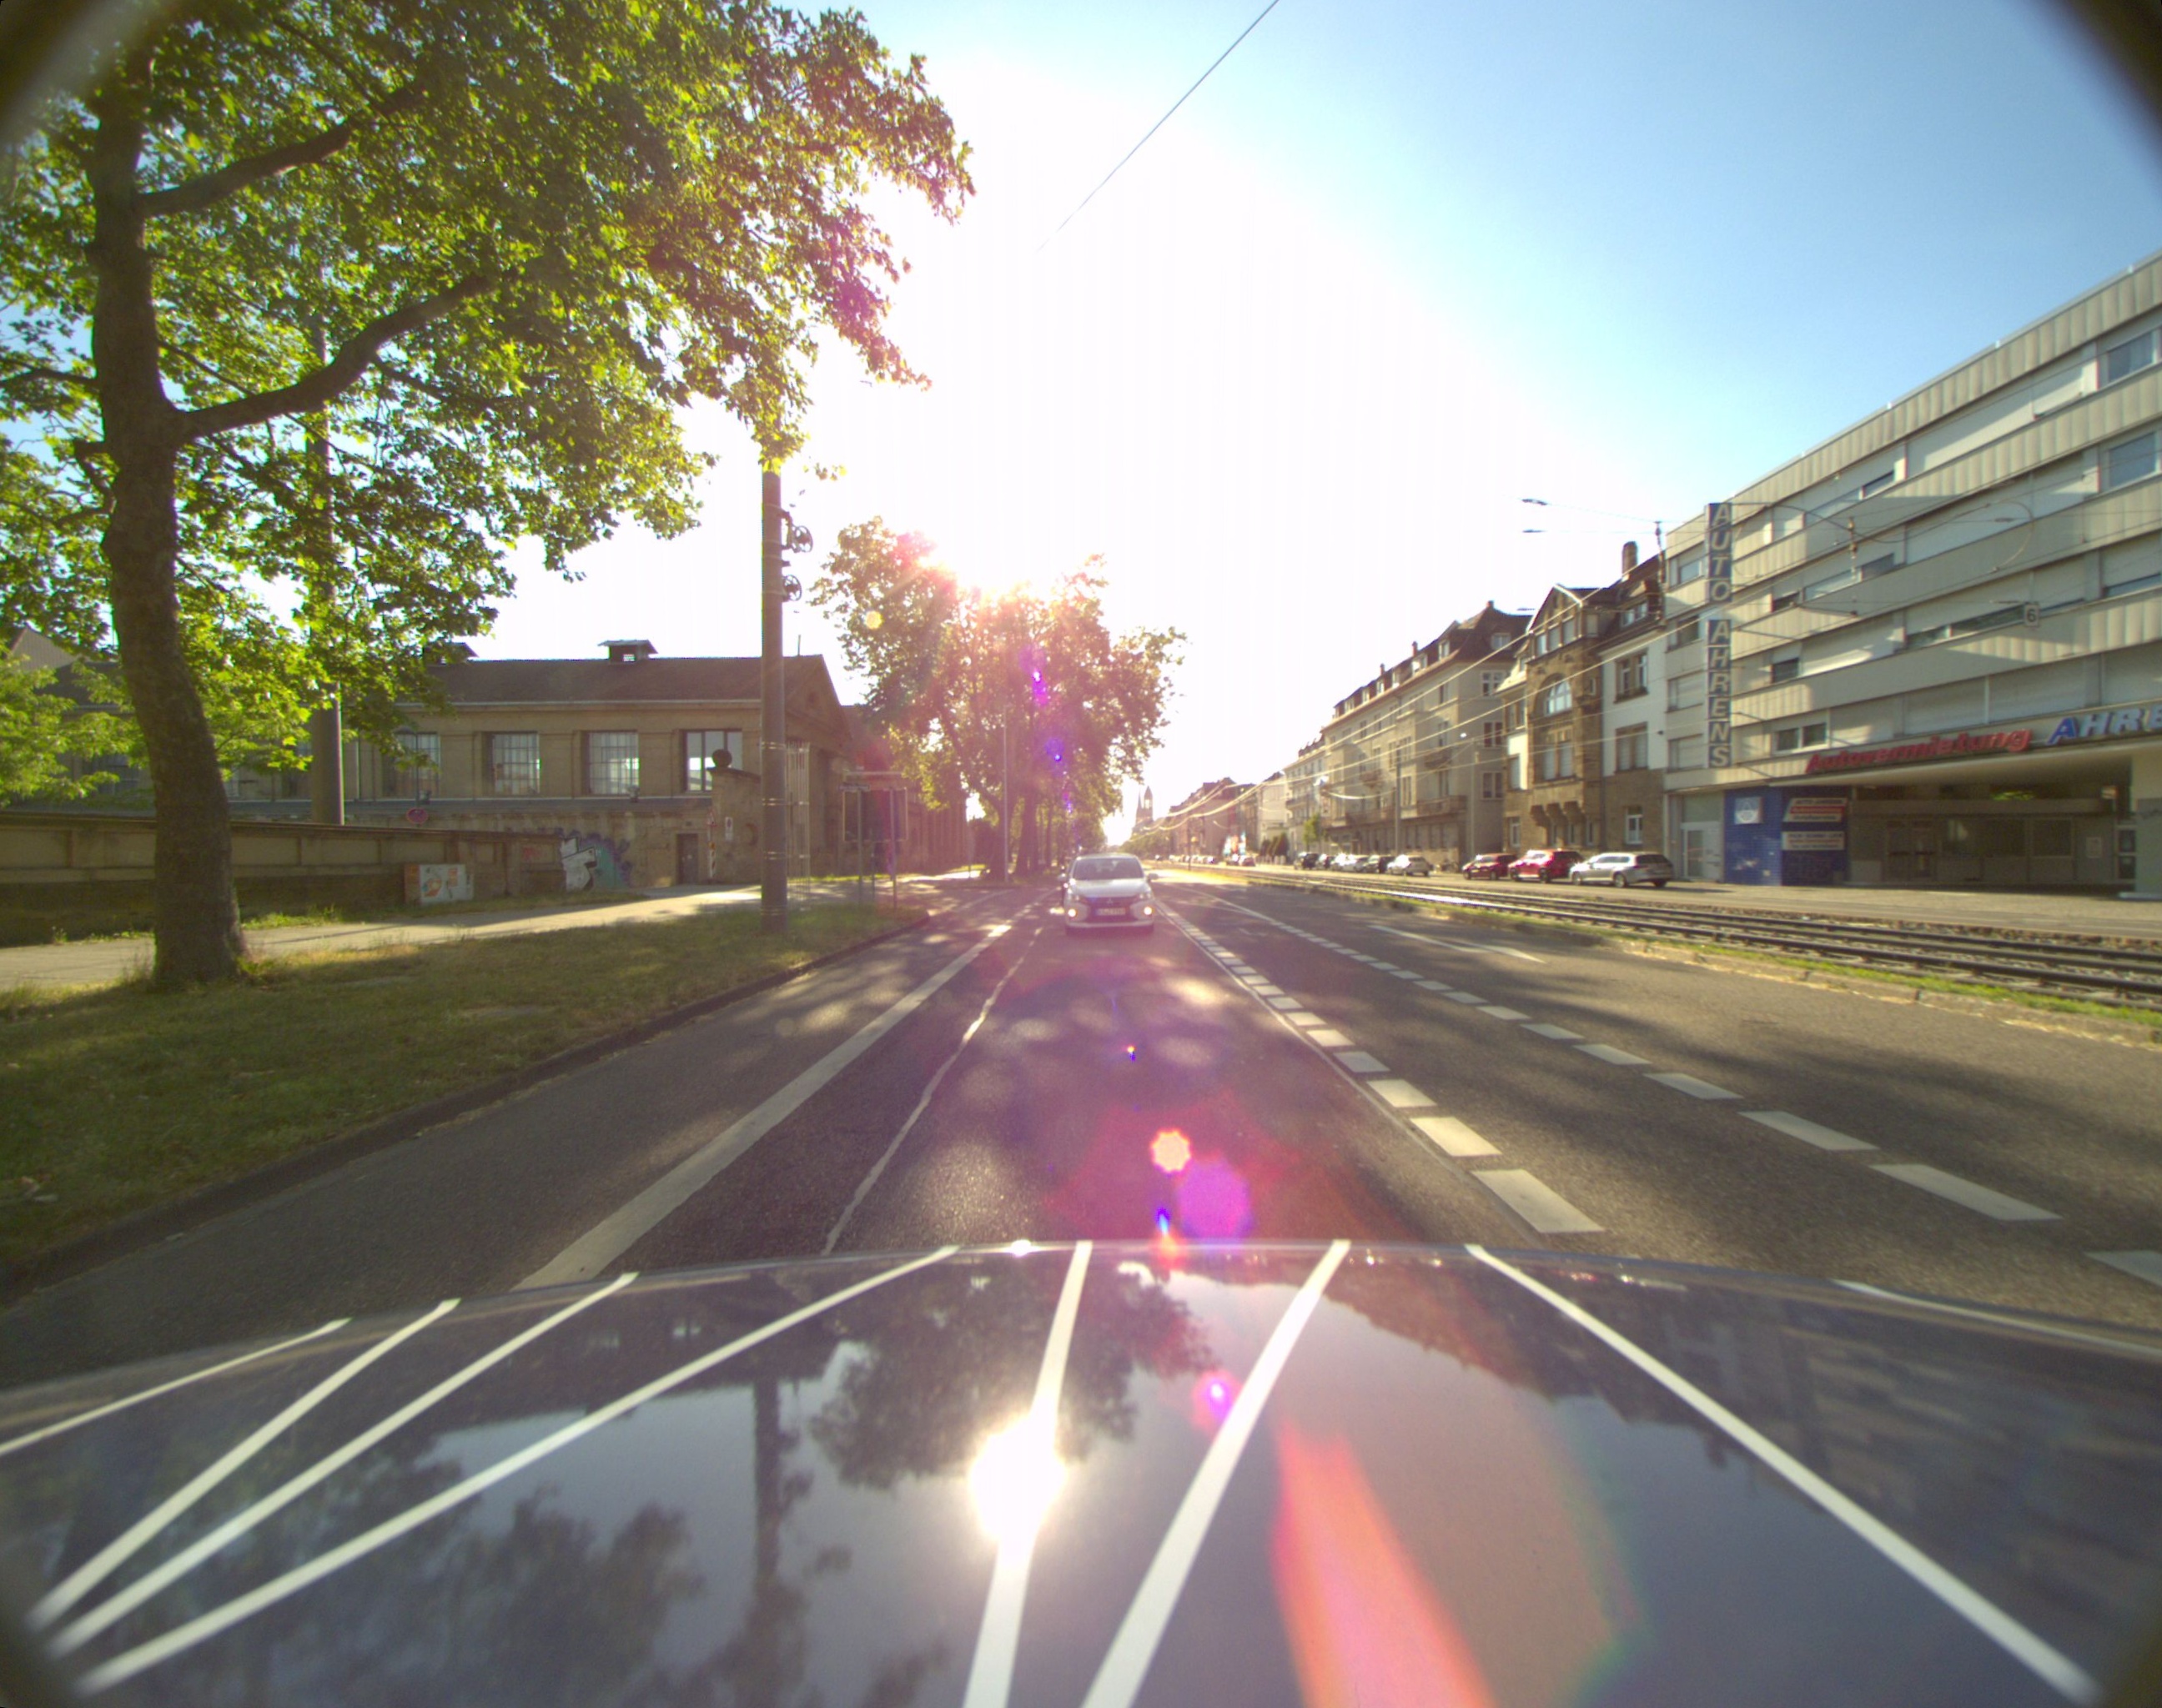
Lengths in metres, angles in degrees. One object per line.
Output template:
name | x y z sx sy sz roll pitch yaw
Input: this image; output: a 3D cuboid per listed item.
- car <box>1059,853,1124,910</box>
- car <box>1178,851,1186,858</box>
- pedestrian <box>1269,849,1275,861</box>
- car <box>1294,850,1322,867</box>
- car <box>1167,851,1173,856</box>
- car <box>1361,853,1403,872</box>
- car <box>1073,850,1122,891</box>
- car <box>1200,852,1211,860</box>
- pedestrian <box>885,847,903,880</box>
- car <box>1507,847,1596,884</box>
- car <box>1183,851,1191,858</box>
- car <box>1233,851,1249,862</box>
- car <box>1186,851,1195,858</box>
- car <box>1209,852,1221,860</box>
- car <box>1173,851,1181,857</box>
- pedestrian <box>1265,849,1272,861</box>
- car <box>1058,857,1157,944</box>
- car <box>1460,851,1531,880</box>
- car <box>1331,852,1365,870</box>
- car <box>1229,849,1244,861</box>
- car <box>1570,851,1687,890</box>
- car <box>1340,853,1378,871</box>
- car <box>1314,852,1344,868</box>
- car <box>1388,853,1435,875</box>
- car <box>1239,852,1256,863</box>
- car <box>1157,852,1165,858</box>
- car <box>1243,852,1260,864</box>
car | 0.322 0.728 21.915 1.686 1.462 4.055 -1 0 1
car | 25.910 0.080 195.341 1.624 1.581 3.450 -2 0 1
pedestrian | 27.534 0.137 109.492 0.725 1.779 0.678 0 1 0
car | 24.141 0.497 80.833 1.875 1.726 3.915 -2 0 1
car | 27.281 -0.169 232.547 1.624 1.581 3.450 -2 0 1
car | 23.854 0.649 60.369 1.802 1.422 3.822 -2 0 -1
car | 0.696 0.622 30.983 1.833 1.543 4.000 0 0 2
car | 25.013 0.353 152.791 1.624 1.581 3.450 -2 0 1
pedestrian | -9.404 0.456 38.219 0.672 1.652 0.874 1 1 2
car | 23.400 0.535 38.014 1.860 1.677 4.263 -2 0 2
car | 26.189 0.116 187.789 1.624 1.581 3.450 -2 0 1
car | 24.740 0.412 117.427 1.684 1.562 3.388 -2 0 1
car | 26.327 0.170 182.737 1.624 1.581 3.450 -2 0 1
car | 25.258 0.370 143.570 1.624 1.581 3.450 -2 0 1
car | 26.027 0.029 205.804 1.624 1.581 3.450 -2 0 1
pedestrian | 26.988 0.133 109.404 0.725 1.779 0.678 0 1 0
car | 0.515 0.815 15.242 1.686 1.462 4.055 -1 0 1
car | 23.527 0.631 43.243 1.756 1.487 3.728 -2 0 -5
car | 24.326 0.618 69.418 1.802 1.470 3.823 -2 0 1
car | 25.203 0.121 123.140 1.727 1.776 3.881 -2 0 1
car | 23.358 0.644 32.660 1.861 1.490 4.381 -2 0 0
car | 23.559 0.640 64.521 1.642 1.438 3.538 -2 0 -6
car | 24.565 0.592 75.337 1.802 1.470 3.823 -2 0 1
car | 23.840 0.688 54.981 1.802 1.470 3.823 -2 0 1
car | 24.659 0.445 112.598 1.684 1.562 3.388 -2 0 1
car | 22.132 0.293 209.590 1.822 1.674 4.000 0 0 1
car | 24.113 0.524 107.252 1.677 1.622 3.408 -2 0 1
